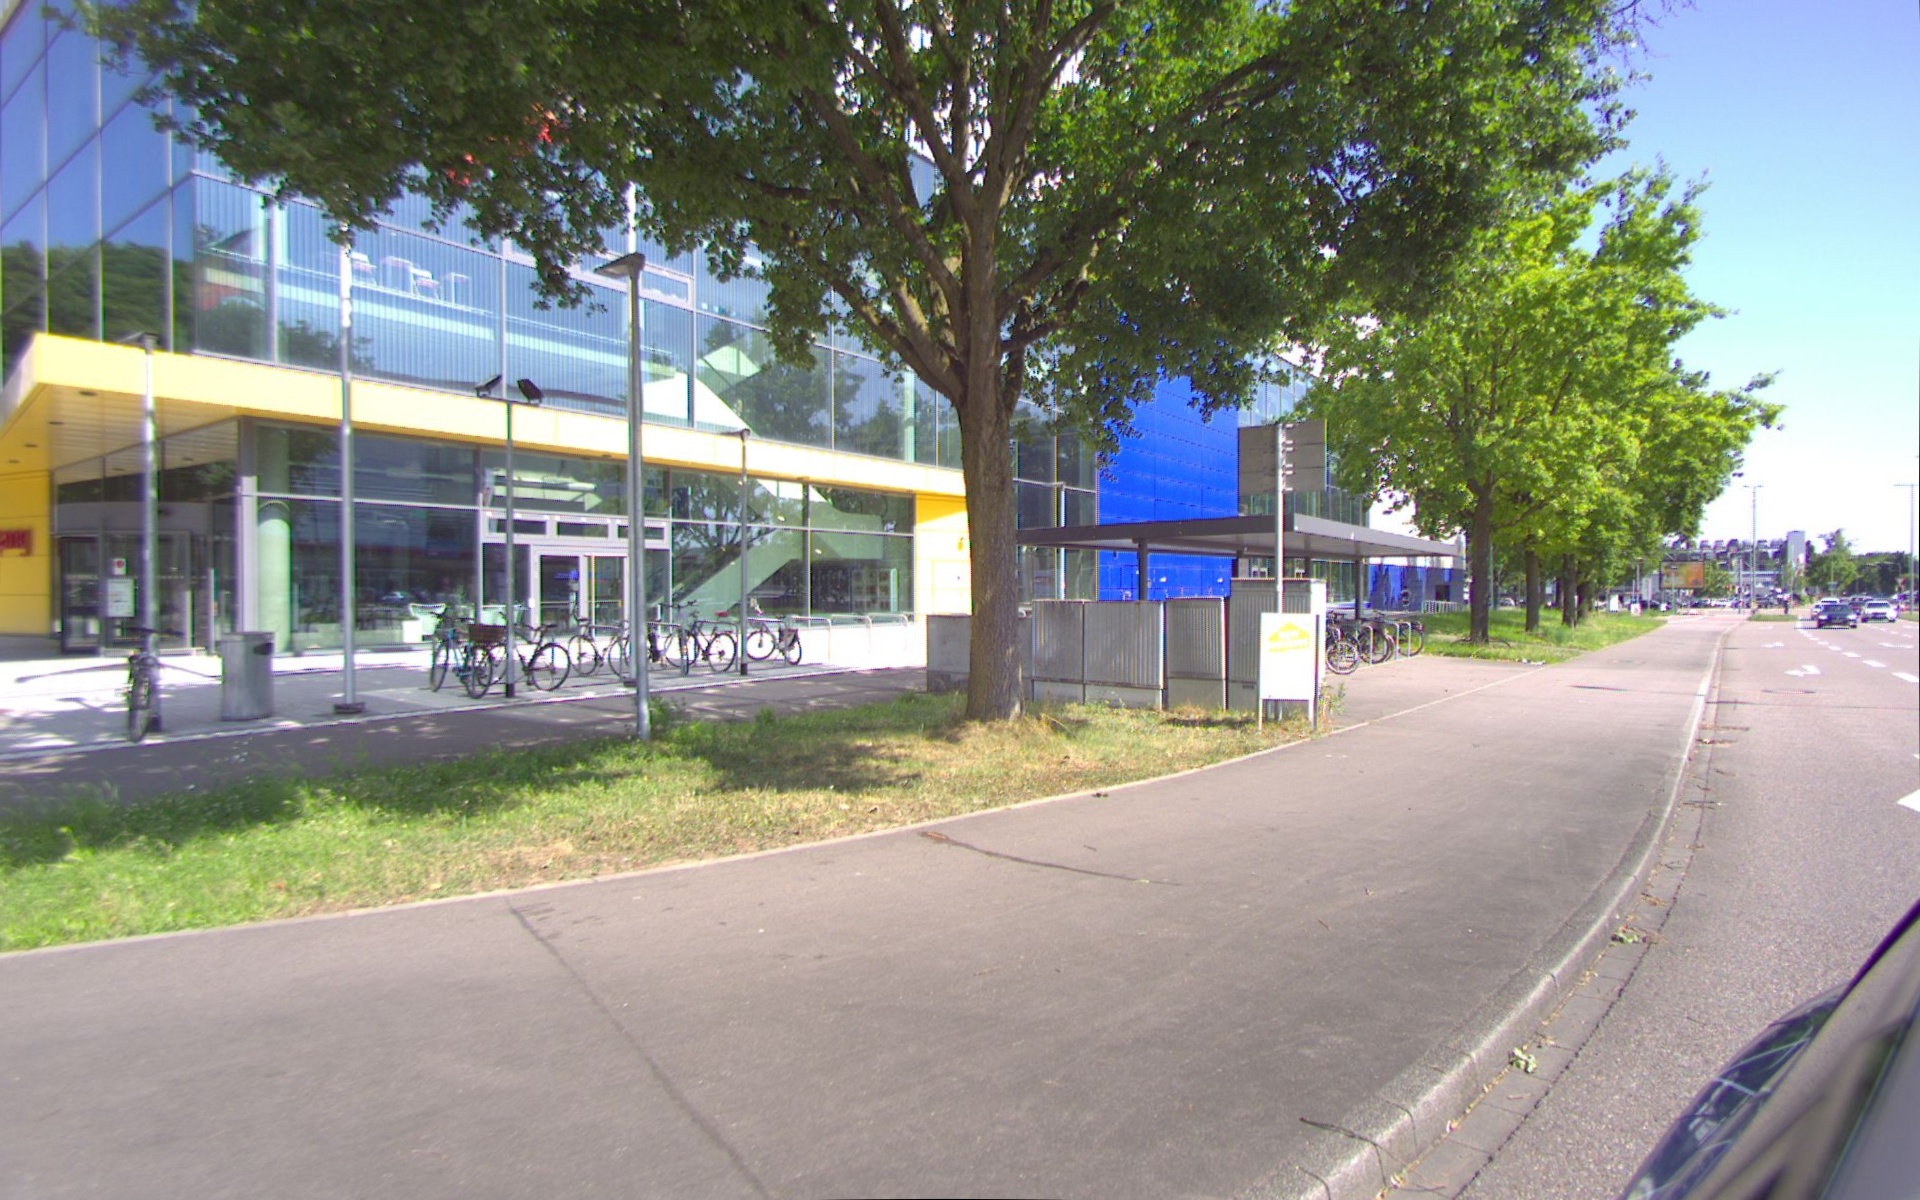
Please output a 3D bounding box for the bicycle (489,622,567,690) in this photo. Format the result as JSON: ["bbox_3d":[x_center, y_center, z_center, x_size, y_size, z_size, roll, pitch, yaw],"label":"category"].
[{"bbox_3d":[-6.409,0.805,14.982,1.560,0.921,0.427,0,-1,41],"label":"bicycle"}]

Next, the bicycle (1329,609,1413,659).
[{"bbox_3d":[9.450,0.765,23.309,1.755,1.110,0.446,1,0,39],"label":"bicycle"}]

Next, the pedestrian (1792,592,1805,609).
[{"bbox_3d":[89.943,0.008,108.537,0.940,1.802,0.707,0,0,-27],"label":"pedestrian"}]

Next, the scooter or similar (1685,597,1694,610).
[{"bbox_3d":[72.571,0.356,100.681,1.162,1.181,0.403,-1,1,-35],"label":"scooter or similar"}]

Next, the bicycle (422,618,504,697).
[{"bbox_3d":[-6.845,0.769,13.914,1.560,1.008,0.427,0,-1,41],"label":"bicycle"}]

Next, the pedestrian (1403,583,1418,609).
[{"bbox_3d":[28.035,-0.247,62.966,0.686,1.632,0.762,1,0,35],"label":"pedestrian"}]

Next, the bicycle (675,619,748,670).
[{"bbox_3d":[-4.425,0.773,17.962,1.560,0.854,0.427,0,-1,41],"label":"bicycle"}]

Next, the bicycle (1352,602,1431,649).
[{"bbox_3d":[10.706,0.607,25.158,1.755,1.110,0.446,1,0,39],"label":"bicycle"}]

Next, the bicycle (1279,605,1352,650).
[{"bbox_3d":[9.239,0.704,26.321,1.755,1.110,0.446,1,0,39],"label":"bicycle"}]

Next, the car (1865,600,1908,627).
[{"bbox_3d":[69.415,0.998,75.884,2.016,1.861,4.252,0,1,38],"label":"car"}]

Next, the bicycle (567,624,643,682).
[{"bbox_3d":[-5.663,0.826,16.115,1.560,0.854,0.427,0,-1,41],"label":"bicycle"}]

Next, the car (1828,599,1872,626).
[{"bbox_3d":[53.034,0.733,60.357,1.763,1.483,4.178,-2,0,40],"label":"car"}]

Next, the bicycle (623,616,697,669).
[{"bbox_3d":[-5.126,0.703,17.248,1.560,0.854,0.427,0,-1,41],"label":"bicycle"}]

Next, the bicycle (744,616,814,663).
[{"bbox_3d":[-3.478,0.736,19.376,1.560,0.854,0.427,0,-1,41],"label":"bicycle"}]

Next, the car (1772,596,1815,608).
[{"bbox_3d":[112.577,0.255,136.686,4.461,1.607,1.951,0,0,40],"label":"car"}]

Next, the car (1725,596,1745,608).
[{"bbox_3d":[105.904,0.225,138.265,1.882,1.479,3.938,0,1,43],"label":"car"}]

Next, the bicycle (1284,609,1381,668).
[{"bbox_3d":[7.415,0.754,20.188,1.755,1.110,0.446,1,0,39],"label":"bicycle"}]

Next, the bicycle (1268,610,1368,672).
[{"bbox_3d":[6.818,0.755,19.333,1.755,1.110,0.446,1,0,39],"label":"bicycle"}]

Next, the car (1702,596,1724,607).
[{"bbox_3d":[103.907,0.244,139.675,1.993,1.479,3.938,0,0,43],"label":"car"}]

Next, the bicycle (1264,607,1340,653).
[{"bbox_3d":[8.598,0.736,25.489,1.755,1.110,0.446,1,0,39],"label":"bicycle"}]

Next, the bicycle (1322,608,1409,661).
[{"bbox_3d":[9.001,0.743,22.494,1.755,1.110,0.446,1,0,39],"label":"bicycle"}]

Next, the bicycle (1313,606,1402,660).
[{"bbox_3d":[8.671,0.705,22.116,1.755,1.110,0.446,1,0,39],"label":"bicycle"}]

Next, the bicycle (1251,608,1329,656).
[{"bbox_3d":[7.988,0.765,24.556,1.755,1.110,0.446,1,0,39],"label":"bicycle"}]

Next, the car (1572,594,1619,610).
[{"bbox_3d":[81.300,0.261,129.409,4.971,2.032,1.718,0,1,37],"label":"car"}]

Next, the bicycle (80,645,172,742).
[{"bbox_3d":[-8.619,0.926,10.439,1.826,0.854,0.427,0,-1,41],"label":"bicycle"}]

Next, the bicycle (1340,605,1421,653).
[{"bbox_3d":[10.115,0.686,24.388,1.755,1.110,0.457,1,0,39],"label":"bicycle"}]
